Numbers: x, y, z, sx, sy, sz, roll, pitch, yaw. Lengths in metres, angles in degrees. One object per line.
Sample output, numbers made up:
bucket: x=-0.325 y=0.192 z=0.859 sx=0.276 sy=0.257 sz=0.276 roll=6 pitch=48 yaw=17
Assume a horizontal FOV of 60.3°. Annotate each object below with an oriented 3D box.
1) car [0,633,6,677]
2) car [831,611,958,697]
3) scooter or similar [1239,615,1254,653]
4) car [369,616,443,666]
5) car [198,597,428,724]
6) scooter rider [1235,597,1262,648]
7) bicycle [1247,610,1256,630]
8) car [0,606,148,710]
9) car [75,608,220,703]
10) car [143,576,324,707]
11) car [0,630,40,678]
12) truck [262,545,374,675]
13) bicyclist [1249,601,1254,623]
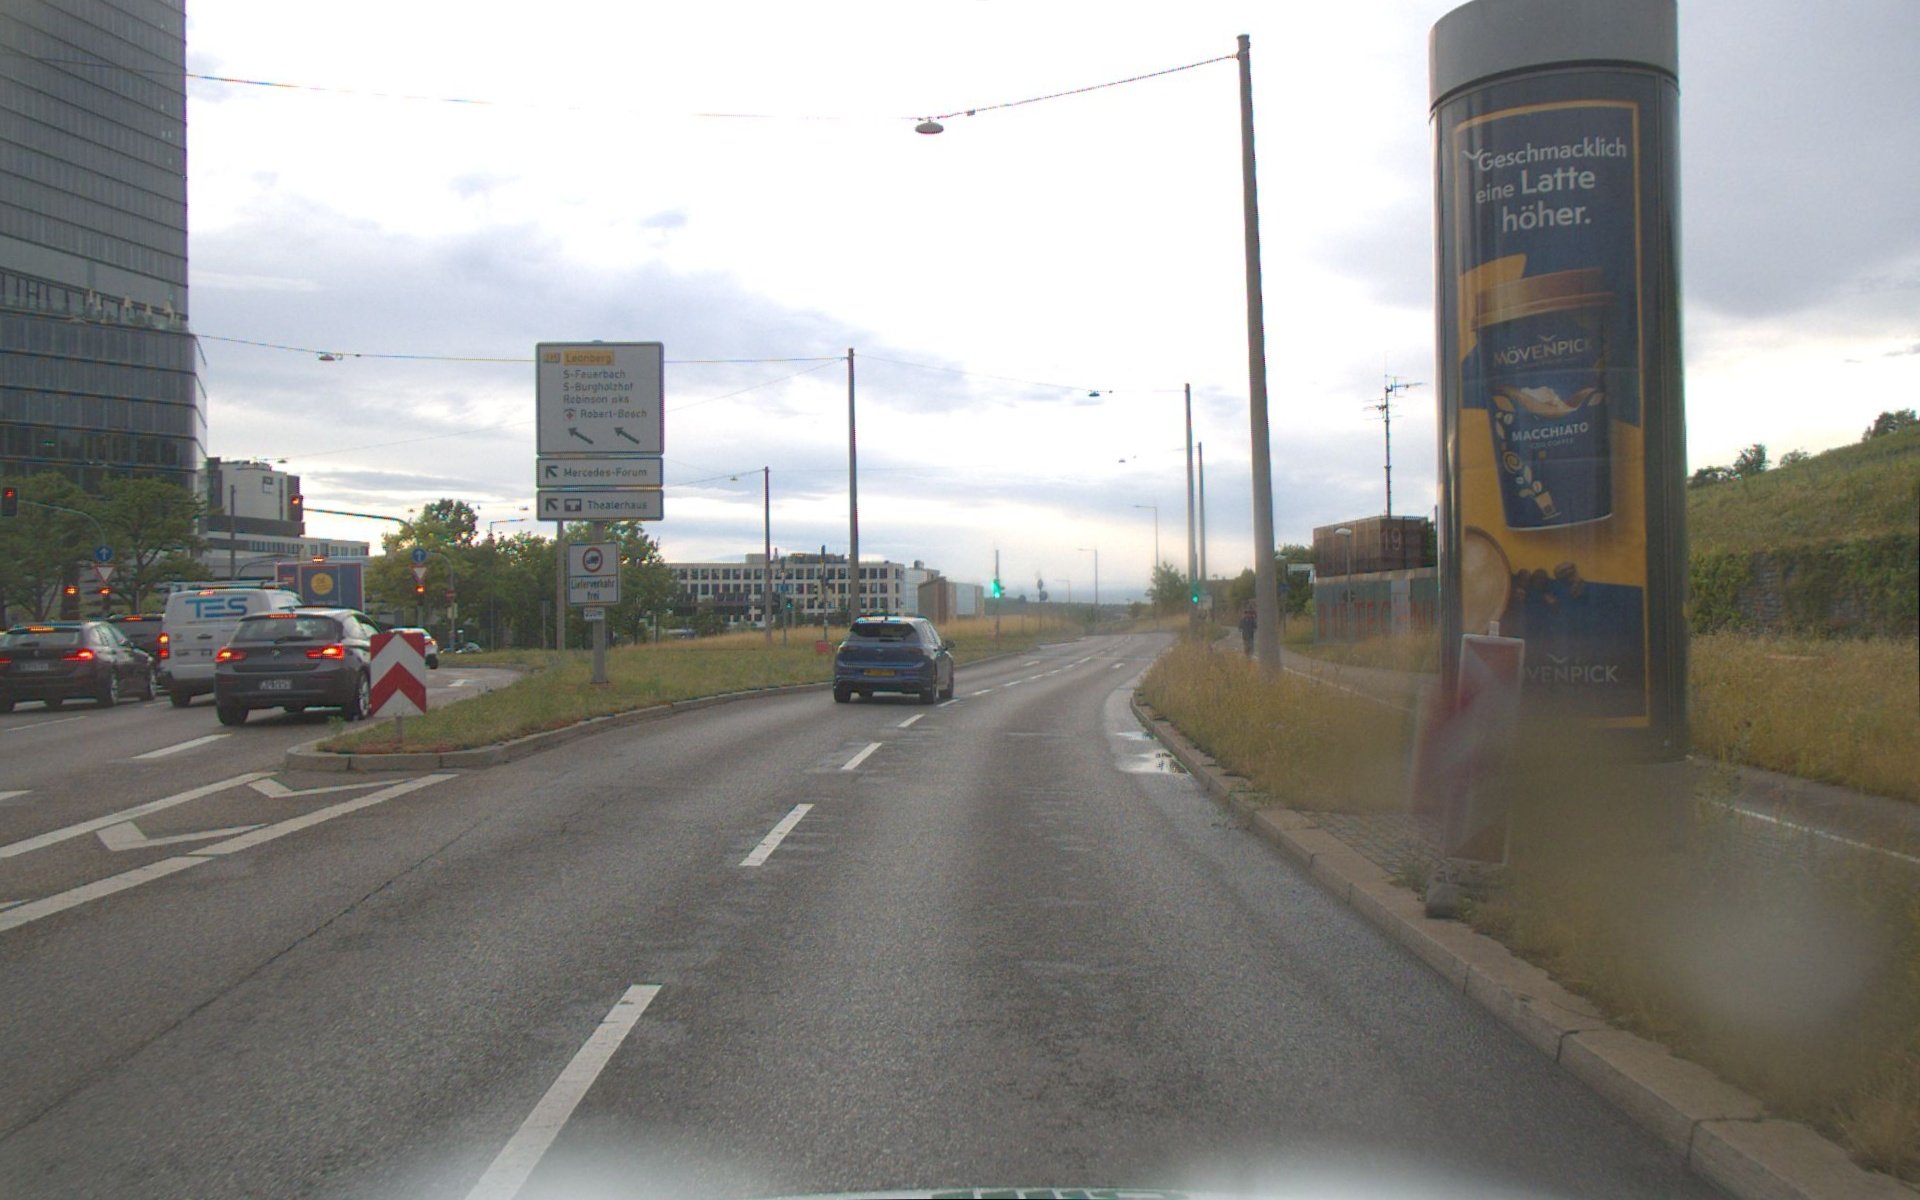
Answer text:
car: x=-37.379 y=2.081 z=61.068 sx=1.789 sy=1.686 sz=3.916 roll=0 pitch=0 yaw=6
car: x=-1.086 y=1.003 z=29.301 sx=1.799 sy=1.418 sz=4.001 roll=0 pitch=-3 yaw=4
scooter or similar: x=9.480 y=1.107 z=54.718 sx=0.392 sy=1.217 sz=1.115 roll=2 pitch=0 yaw=8
car: x=-19.752 y=1.486 z=58.857 sx=1.896 sy=1.672 sz=4.352 roll=0 pitch=-2 yaw=-27
car: x=-8.499 y=0.729 z=22.098 sx=1.833 sy=1.487 sz=3.971 roll=0 pitch=0 yaw=-6
scooter rider: x=9.572 y=0.747 z=54.934 sx=0.789 sy=1.657 sz=0.829 roll=-2 pitch=-1 yaw=7
bicycle: x=16.665 y=1.139 z=94.595 sx=0.539 sy=1.087 sz=0.616 roll=0 pitch=0 yaw=10
car: x=-15.205 y=0.964 z=28.176 sx=1.875 sy=1.591 sz=3.979 roll=-2 pitch=-1 yaw=-18
car: x=-16.759 y=1.109 z=34.303 sx=1.807 sy=1.711 sz=4.057 roll=3 pitch=0 yaw=-14
car: x=-12.520 y=0.689 z=28.840 sx=1.871 sy=2.007 sz=5.075 roll=-2 pitch=-1 yaw=-13
car: x=-39.694 y=2.212 z=67.911 sx=1.727 sy=1.870 sz=3.757 roll=0 pitch=0 yaw=0
truck: x=-17.472 y=0.268 z=44.915 sx=2.630 sy=3.276 sz=6.504 roll=1 pitch=0 yaw=-22
bicyclist: x=16.670 y=0.685 z=94.617 sx=0.260 sy=1.217 sz=0.315 roll=0 pitch=0 yaw=10
